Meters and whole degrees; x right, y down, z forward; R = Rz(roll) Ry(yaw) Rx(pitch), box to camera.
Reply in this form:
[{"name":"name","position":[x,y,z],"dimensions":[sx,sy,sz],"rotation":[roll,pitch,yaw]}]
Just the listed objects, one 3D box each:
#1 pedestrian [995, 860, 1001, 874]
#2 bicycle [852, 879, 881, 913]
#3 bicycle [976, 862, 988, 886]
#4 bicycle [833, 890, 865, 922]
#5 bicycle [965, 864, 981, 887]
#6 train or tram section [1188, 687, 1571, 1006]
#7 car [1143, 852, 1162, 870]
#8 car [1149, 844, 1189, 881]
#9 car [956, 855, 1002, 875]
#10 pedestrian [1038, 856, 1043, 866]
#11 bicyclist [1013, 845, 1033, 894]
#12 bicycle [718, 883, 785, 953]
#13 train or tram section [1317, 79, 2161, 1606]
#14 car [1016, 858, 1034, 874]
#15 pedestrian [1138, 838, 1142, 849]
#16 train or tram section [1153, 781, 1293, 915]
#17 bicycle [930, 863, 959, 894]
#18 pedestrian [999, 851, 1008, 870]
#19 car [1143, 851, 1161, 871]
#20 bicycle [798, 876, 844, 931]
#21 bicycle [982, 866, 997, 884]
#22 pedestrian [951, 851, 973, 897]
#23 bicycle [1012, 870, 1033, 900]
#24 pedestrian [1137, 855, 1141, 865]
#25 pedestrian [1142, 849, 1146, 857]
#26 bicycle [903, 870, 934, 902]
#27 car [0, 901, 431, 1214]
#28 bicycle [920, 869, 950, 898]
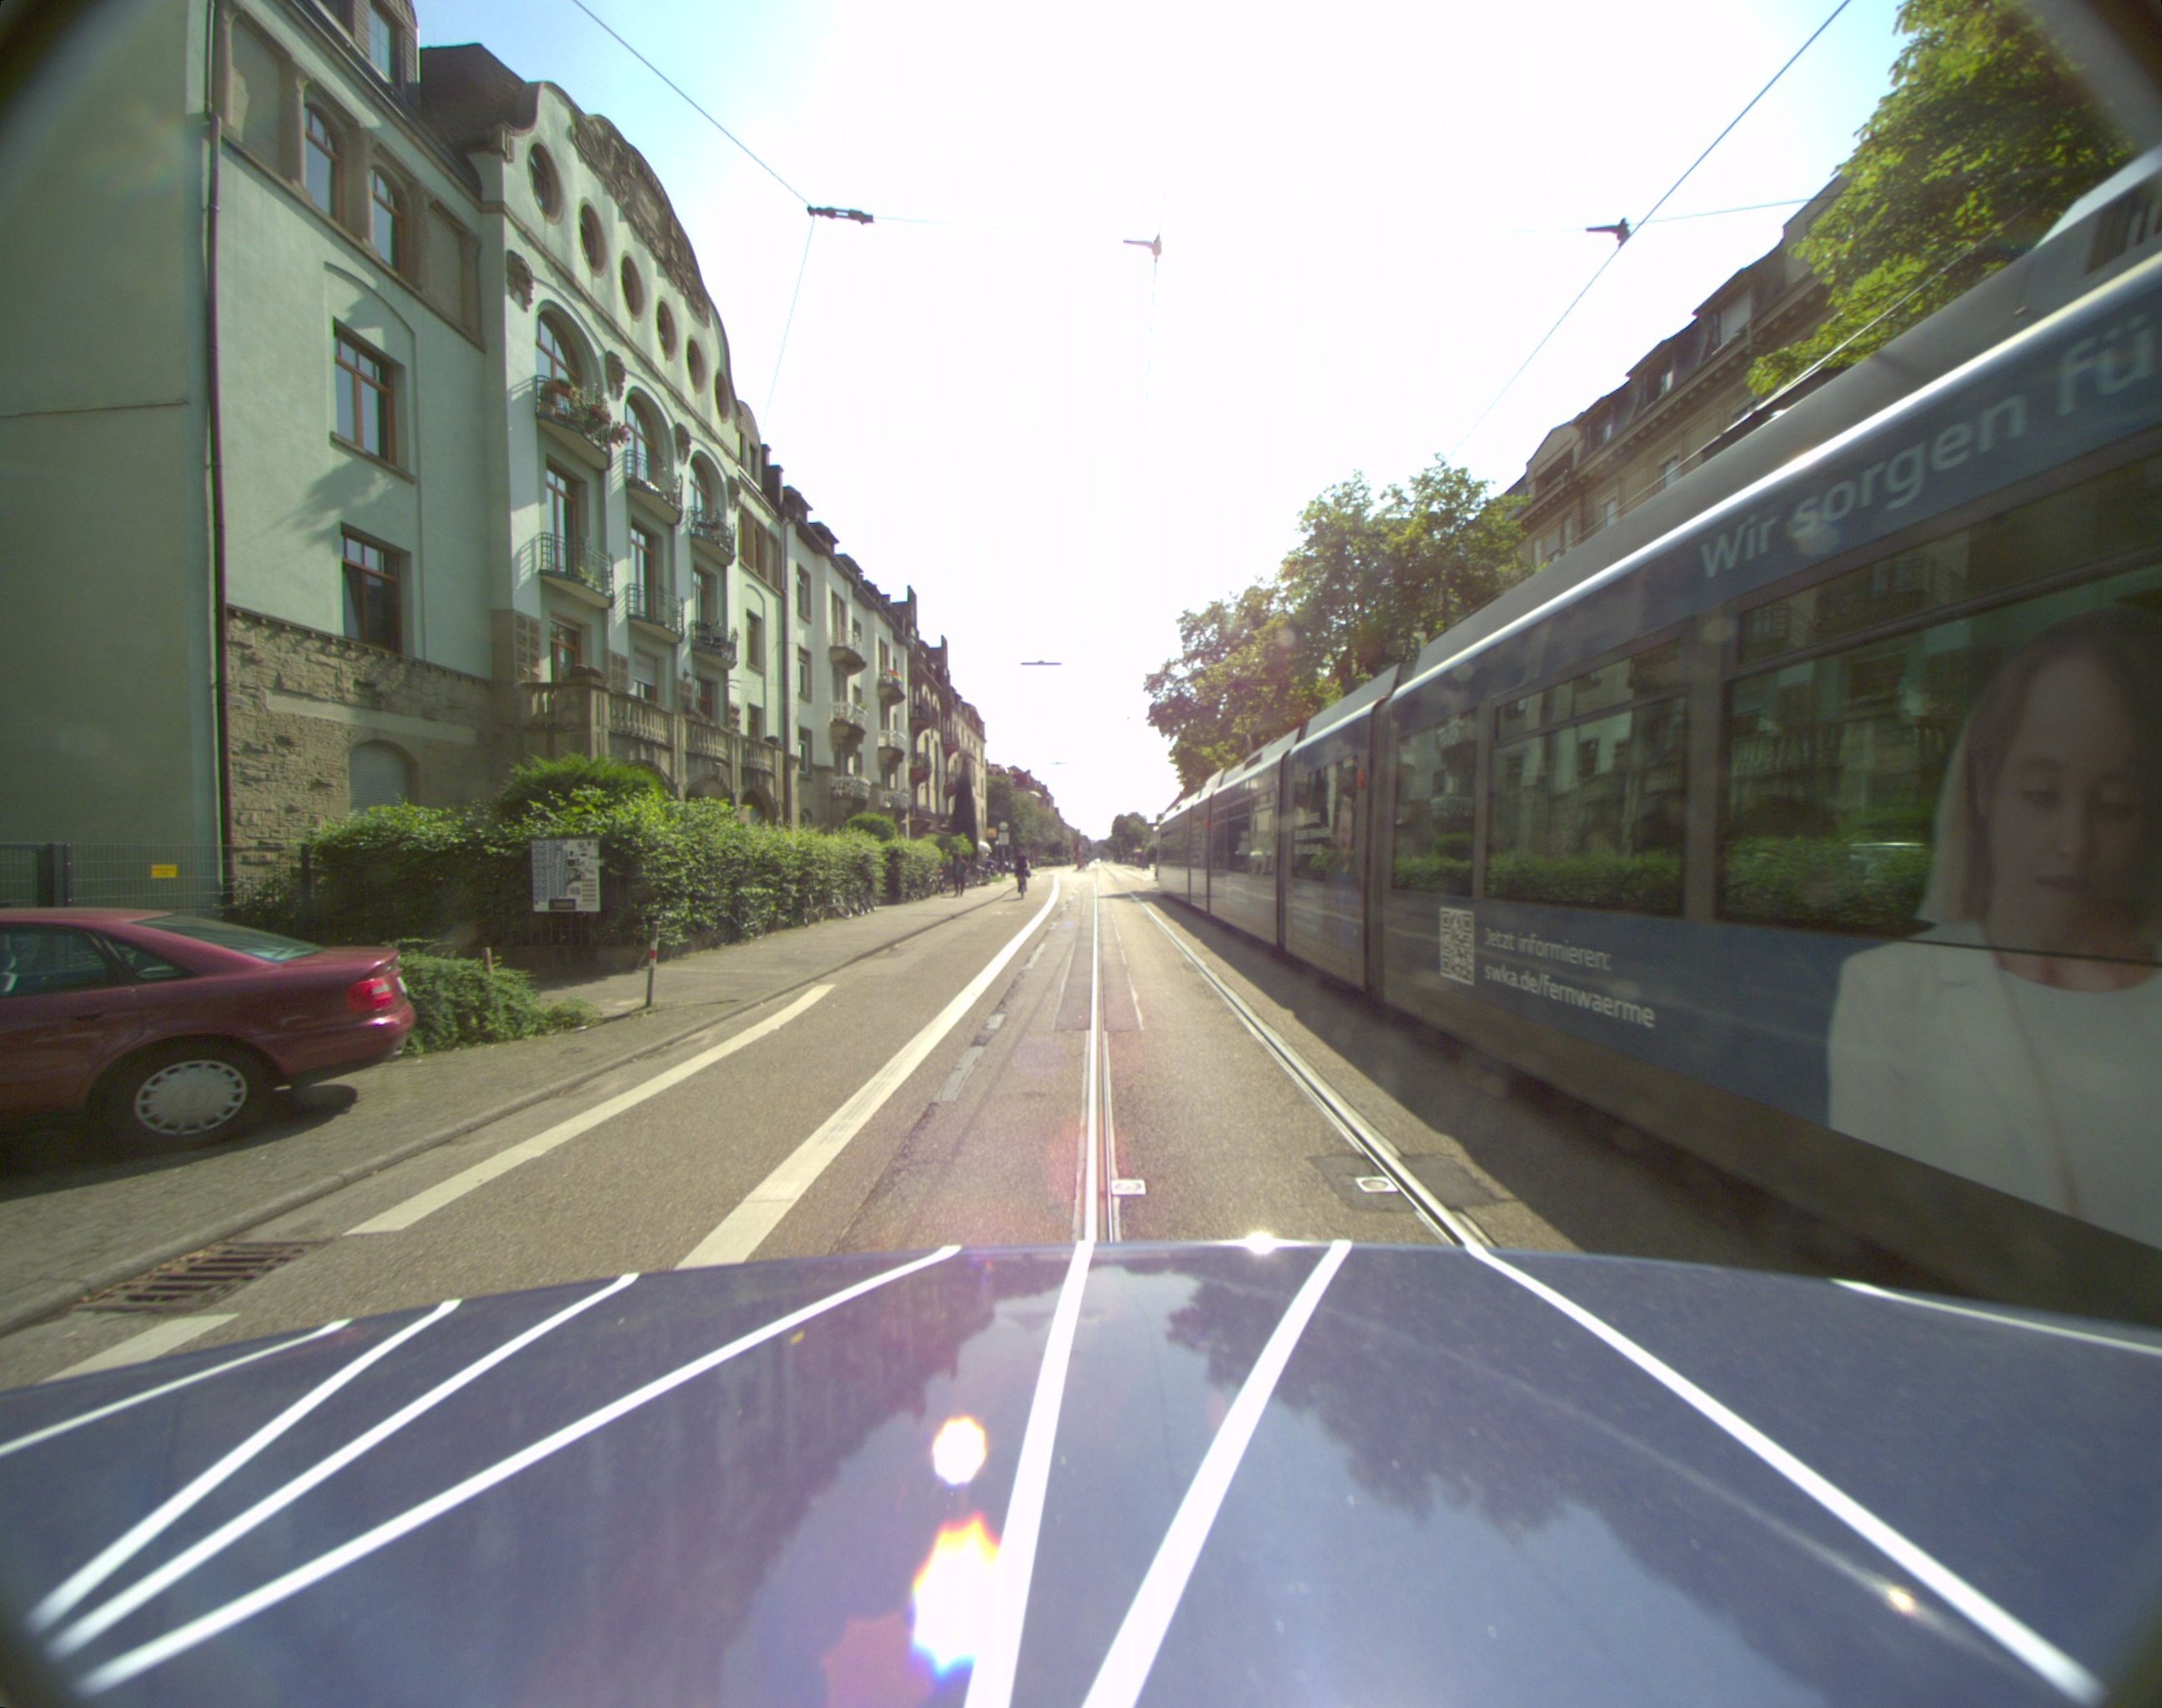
[{"name":"pedestrian","position":[-8.286,1.296,75.740],"dimensions":[0.571,1.318,0.442],"rotation":[4,0,-7]},{"name":"bicycle","position":[-6.090,1.170,21.597],"dimensions":[0.274,0.901,1.669],"rotation":[3,-1,1]},{"name":"bicycle","position":[-5.275,1.068,40.578],"dimensions":[0.452,1.253,1.844],"rotation":[2,0,-2]},{"name":"bicycle","position":[-5.915,1.312,19.405],"dimensions":[0.280,0.673,1.559],"rotation":[3,1,1]},{"name":"bicycle","position":[-5.467,1.059,38.675],"dimensions":[0.452,1.116,1.844],"rotation":[2,0,2]},{"name":"train or tram section","position":[3.984,-0.127,13.862],"dimensions":[2.659,3.369,11.473],"rotation":[1,1,1]},{"name":"car","position":[8.401,0.757,89.352],"dimensions":[1.932,1.906,5.124],"rotation":[3,1,3]},{"name":"car","position":[6.334,0.609,55.440],"dimensions":[2.321,2.492,6.365],"rotation":[-1,-1,2]},{"name":"car","position":[-8.349,0.868,62.196],"dimensions":[3.409,1.515,1.972],"rotation":[1,0,3]},{"name":"pedestrian","position":[-6.734,1.196,127.328],"dimensions":[0.707,1.644,0.534],"rotation":[-2,1,1]},{"name":"bicyclist","position":[-2.325,0.604,30.379],"dimensions":[0.608,1.937,1.130],"rotation":[-2,1,1]},{"name":"bicycle","position":[-6.012,1.130,13.973],"dimensions":[0.280,1.102,2.011],"rotation":[3,1,1]},{"name":"train or tram section","position":[3.672,-0.017,0.894],"dimensions":[2.659,3.336,14.108],"rotation":[1,1,1]},{"name":"car","position":[-5.390,1.144,72.991],"dimensions":[1.517,1.490,2.794],"rotation":[2,0,-1]},{"name":"pedestrian","position":[8.991,-1.627,116.423],"dimensions":[0.473,1.647,0.746],"rotation":[3,1,1]},{"name":"train or tram section","position":[4.252,-0.133,25.741],"dimensions":[2.659,3.416,12.316],"rotation":[1,0,1]},{"name":"bicycle","position":[-5.764,1.018,32.185],"dimensions":[0.742,1.224,2.516],"rotation":[-1,1,1]},{"name":"pedestrian","position":[-7.721,0.608,75.692],"dimensions":[0.661,1.831,0.873],"rotation":[7,0,-7]},{"name":"car","position":[9.162,0.855,98.009],"dimensions":[1.998,1.985,5.084],"rotation":[-3,5,2]},{"name":"bicycle","position":[-5.951,1.101,17.491],"dimensions":[0.280,1.102,2.011],"rotation":[3,1,1]},{"name":"bicycle","position":[-5.386,1.224,44.901],"dimensions":[0.600,0.955,3.066],"rotation":[3,0,-2]},{"name":"pedestrian","position":[-4.834,0.811,30.970],"dimensions":[0.790,1.851,0.580],"rotation":[2,1,-6]},{"name":"bicycle","position":[-2.301,1.230,30.298],"dimensions":[0.617,1.039,1.835],"rotation":[3,2,1]},{"name":"pedestrian","position":[9.279,0.978,121.924],"dimensions":[0.498,1.660,0.678],"rotation":[2,1,-5]},{"name":"pedestrian","position":[10.020,-0.187,120.642],"dimensions":[0.605,1.329,0.406],"rotation":[2,1,-5]},{"name":"bicycle","position":[-5.615,1.089,26.313],"dimensions":[0.614,0.983,1.872],"rotation":[1,1,1]},{"name":"car","position":[-6.378,1.105,4.219],"dimensions":[4.168,1.415,1.861],"rotation":[-1,0,-41]},{"name":"bicycle","position":[-5.491,1.093,28.711],"dimensions":[0.612,0.990,2.362],"rotation":[2,1,1]}]
